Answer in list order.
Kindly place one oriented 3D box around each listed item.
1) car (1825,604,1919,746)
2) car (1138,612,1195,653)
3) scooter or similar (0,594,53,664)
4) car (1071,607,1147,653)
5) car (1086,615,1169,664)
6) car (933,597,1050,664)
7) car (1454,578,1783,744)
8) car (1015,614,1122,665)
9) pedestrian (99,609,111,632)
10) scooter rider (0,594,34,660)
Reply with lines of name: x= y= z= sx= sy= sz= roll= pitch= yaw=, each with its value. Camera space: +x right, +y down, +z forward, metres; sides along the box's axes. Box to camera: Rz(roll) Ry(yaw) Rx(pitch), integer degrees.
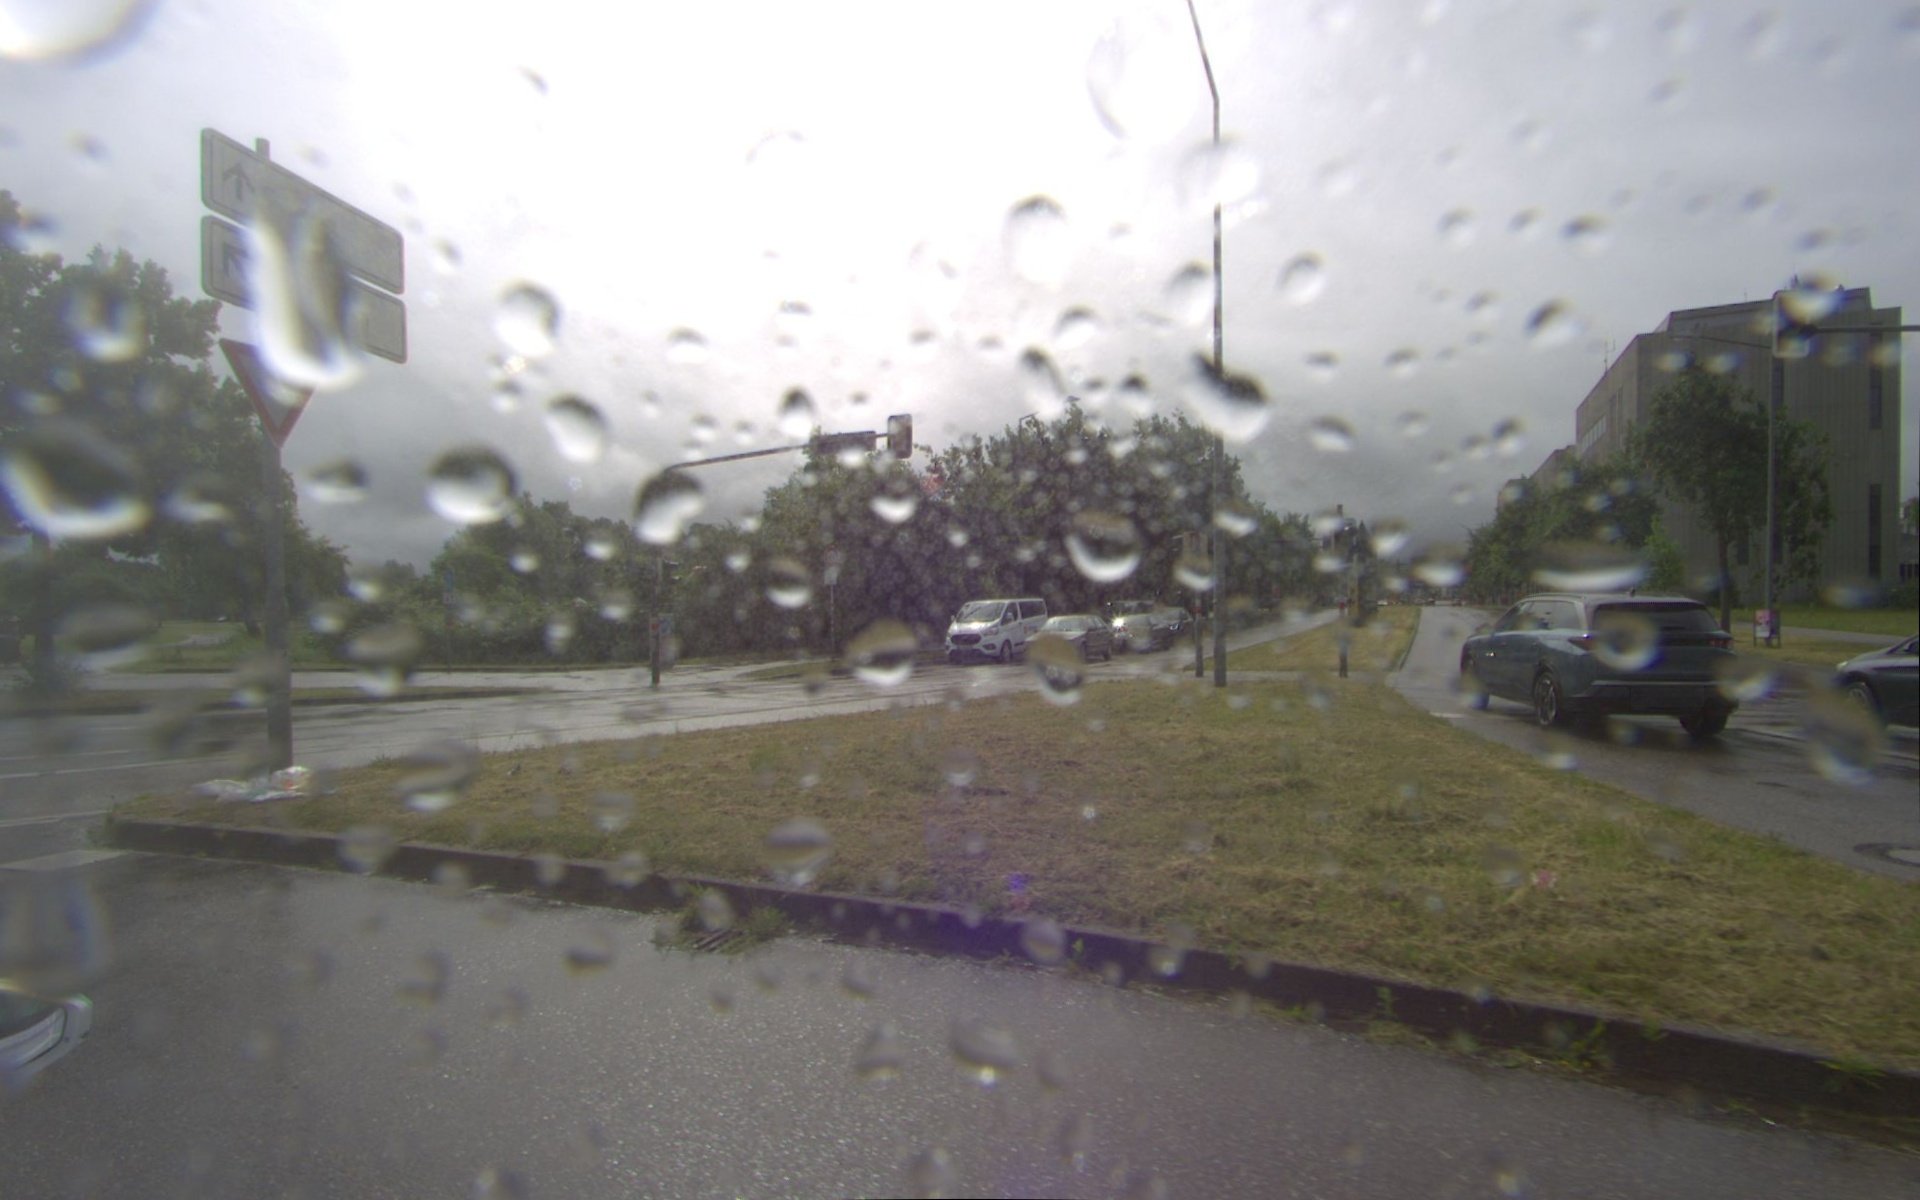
car: x=11.340 y=0.822 z=10.259 sx=1.775 sy=1.548 sz=3.999 roll=0 pitch=0 yaw=6
car: x=8.668 y=1.322 z=41.827 sx=1.542 sy=1.602 sz=3.589 roll=0 pitch=0 yaw=26
scooter or similar: x=-29.130 y=0.921 z=30.640 sx=1.221 sy=2.039 sz=3.395 roll=-1 pitch=-2 yaw=-28
car: x=6.986 y=1.328 z=46.622 sx=2.046 sy=2.013 sz=4.781 roll=0 pitch=0 yaw=28
car: x=6.139 y=1.372 z=36.293 sx=1.837 sy=1.556 sz=4.471 roll=0 pitch=1 yaw=26
car: x=1.128 y=0.954 z=32.743 sx=2.045 sy=2.013 sz=4.783 roll=0 pitch=0 yaw=26
car: x=8.224 y=0.649 z=13.088 sx=2.003 sy=1.781 sz=4.320 roll=0 pitch=0 yaw=10
car: x=3.365 y=1.141 z=30.259 sx=1.837 sy=1.398 sz=4.536 roll=0 pitch=0 yaw=26
pedestrian: x=-68.198 y=1.629 z=79.870 sx=0.591 sy=1.754 sz=0.602 roll=-1 pitch=-1 yaw=-33
scooter rider: x=-29.697 y=0.844 z=31.463 sx=0.696 sy=2.039 sz=0.767 roll=-1 pitch=-1 yaw=-29
